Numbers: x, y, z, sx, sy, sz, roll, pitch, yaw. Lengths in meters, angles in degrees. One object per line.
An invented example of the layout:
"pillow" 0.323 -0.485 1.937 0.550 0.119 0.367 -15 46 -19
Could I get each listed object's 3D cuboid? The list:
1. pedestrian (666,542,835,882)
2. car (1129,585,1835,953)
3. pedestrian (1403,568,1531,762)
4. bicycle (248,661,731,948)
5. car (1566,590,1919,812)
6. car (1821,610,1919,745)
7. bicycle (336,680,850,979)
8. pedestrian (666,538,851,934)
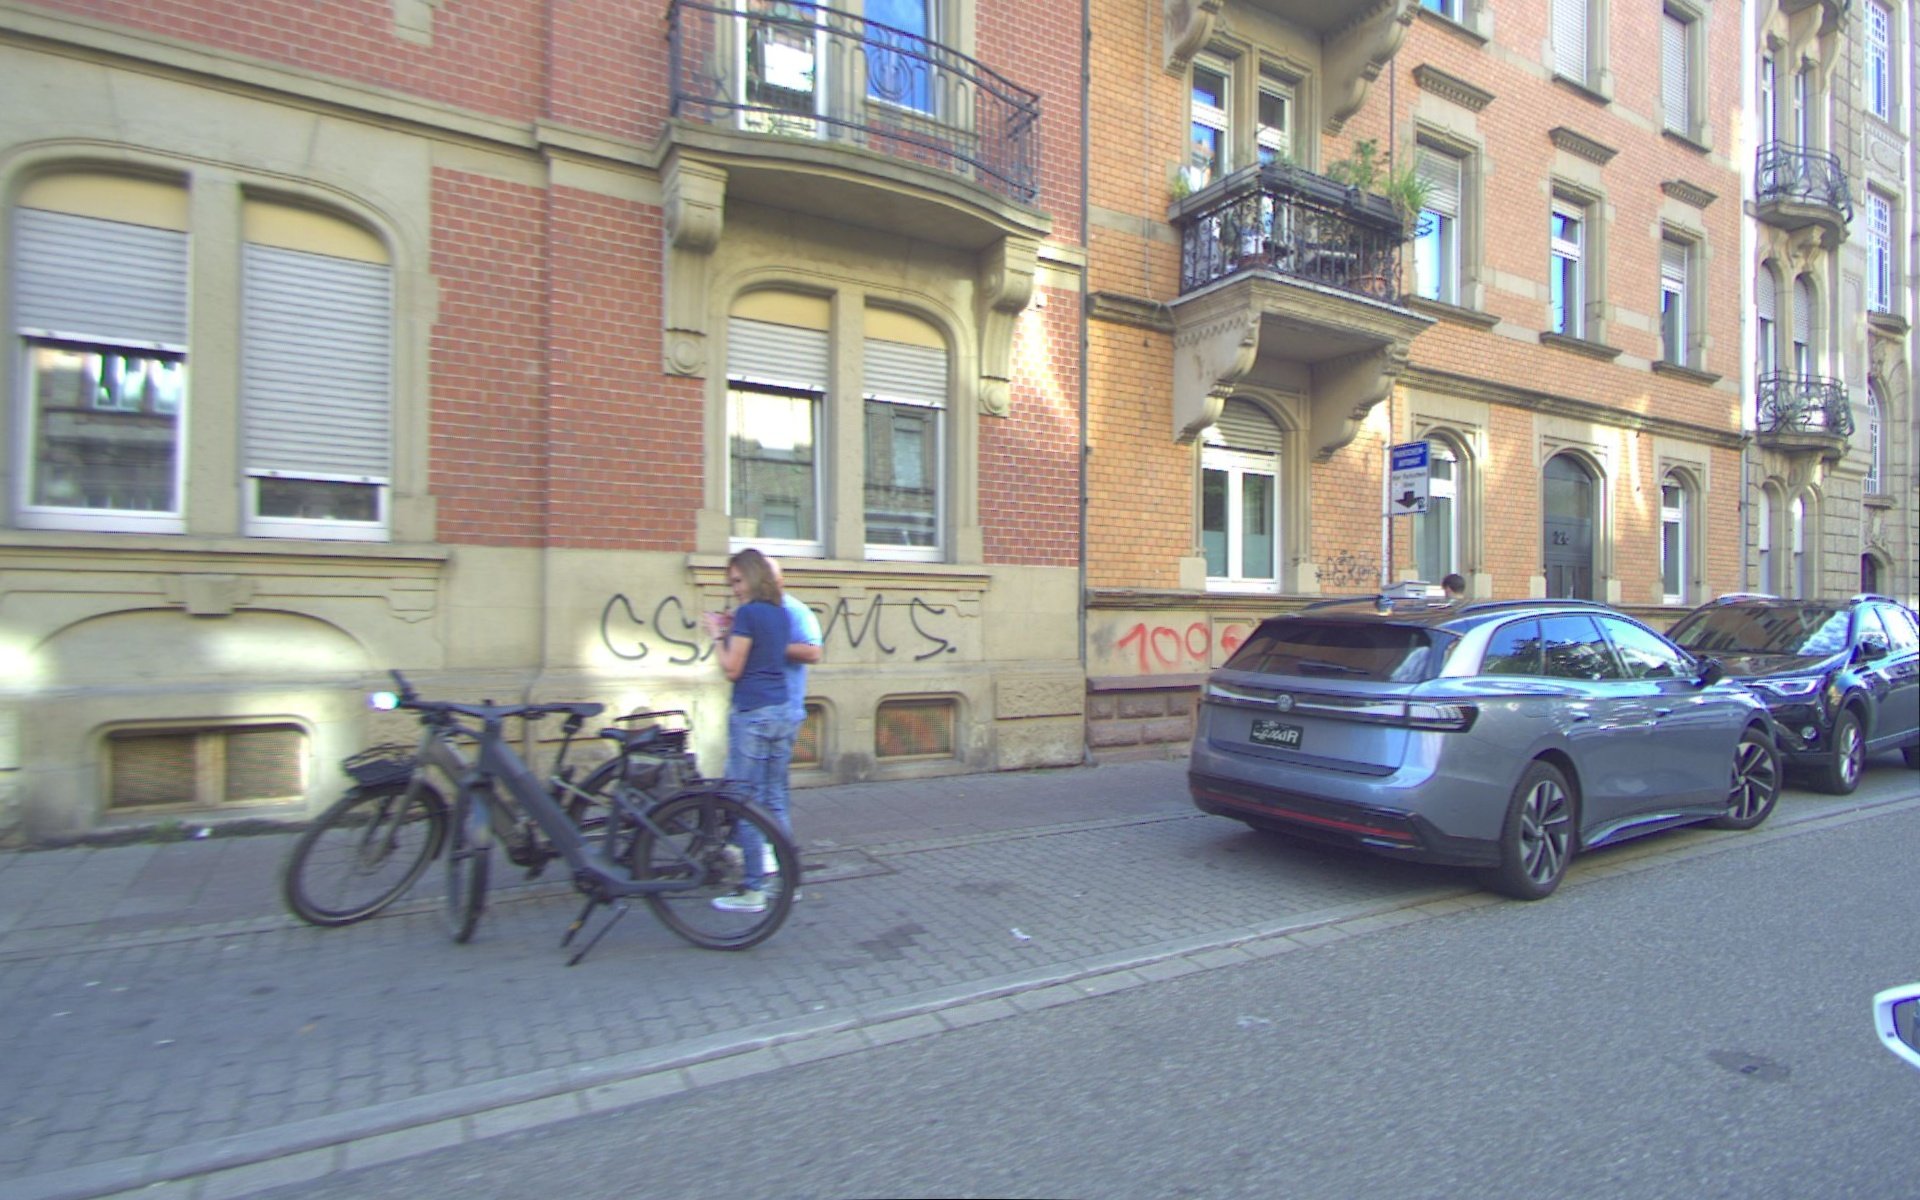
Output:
"pedestrian" -1.120 0.552 5.388 0.669 1.683 0.550 1 1 31
"car" 3.656 0.767 6.576 5.208 1.599 1.814 1 0 -34
"pedestrian" 5.036 0.616 9.992 0.852 1.832 0.753 1 1 -26
"bicycle" -2.042 0.854 4.578 1.876 1.110 0.492 2 1 -21
"car" 8.124 0.778 9.838 4.842 1.703 1.861 0 1 -34
"car" 13.092 0.949 12.773 4.376 1.565 1.984 1 -1 -31
"bicycle" -1.407 0.903 4.077 1.868 1.073 0.482 2 1 -6
"pedestrian" -0.948 0.591 4.808 0.555 1.732 0.667 1 1 25
